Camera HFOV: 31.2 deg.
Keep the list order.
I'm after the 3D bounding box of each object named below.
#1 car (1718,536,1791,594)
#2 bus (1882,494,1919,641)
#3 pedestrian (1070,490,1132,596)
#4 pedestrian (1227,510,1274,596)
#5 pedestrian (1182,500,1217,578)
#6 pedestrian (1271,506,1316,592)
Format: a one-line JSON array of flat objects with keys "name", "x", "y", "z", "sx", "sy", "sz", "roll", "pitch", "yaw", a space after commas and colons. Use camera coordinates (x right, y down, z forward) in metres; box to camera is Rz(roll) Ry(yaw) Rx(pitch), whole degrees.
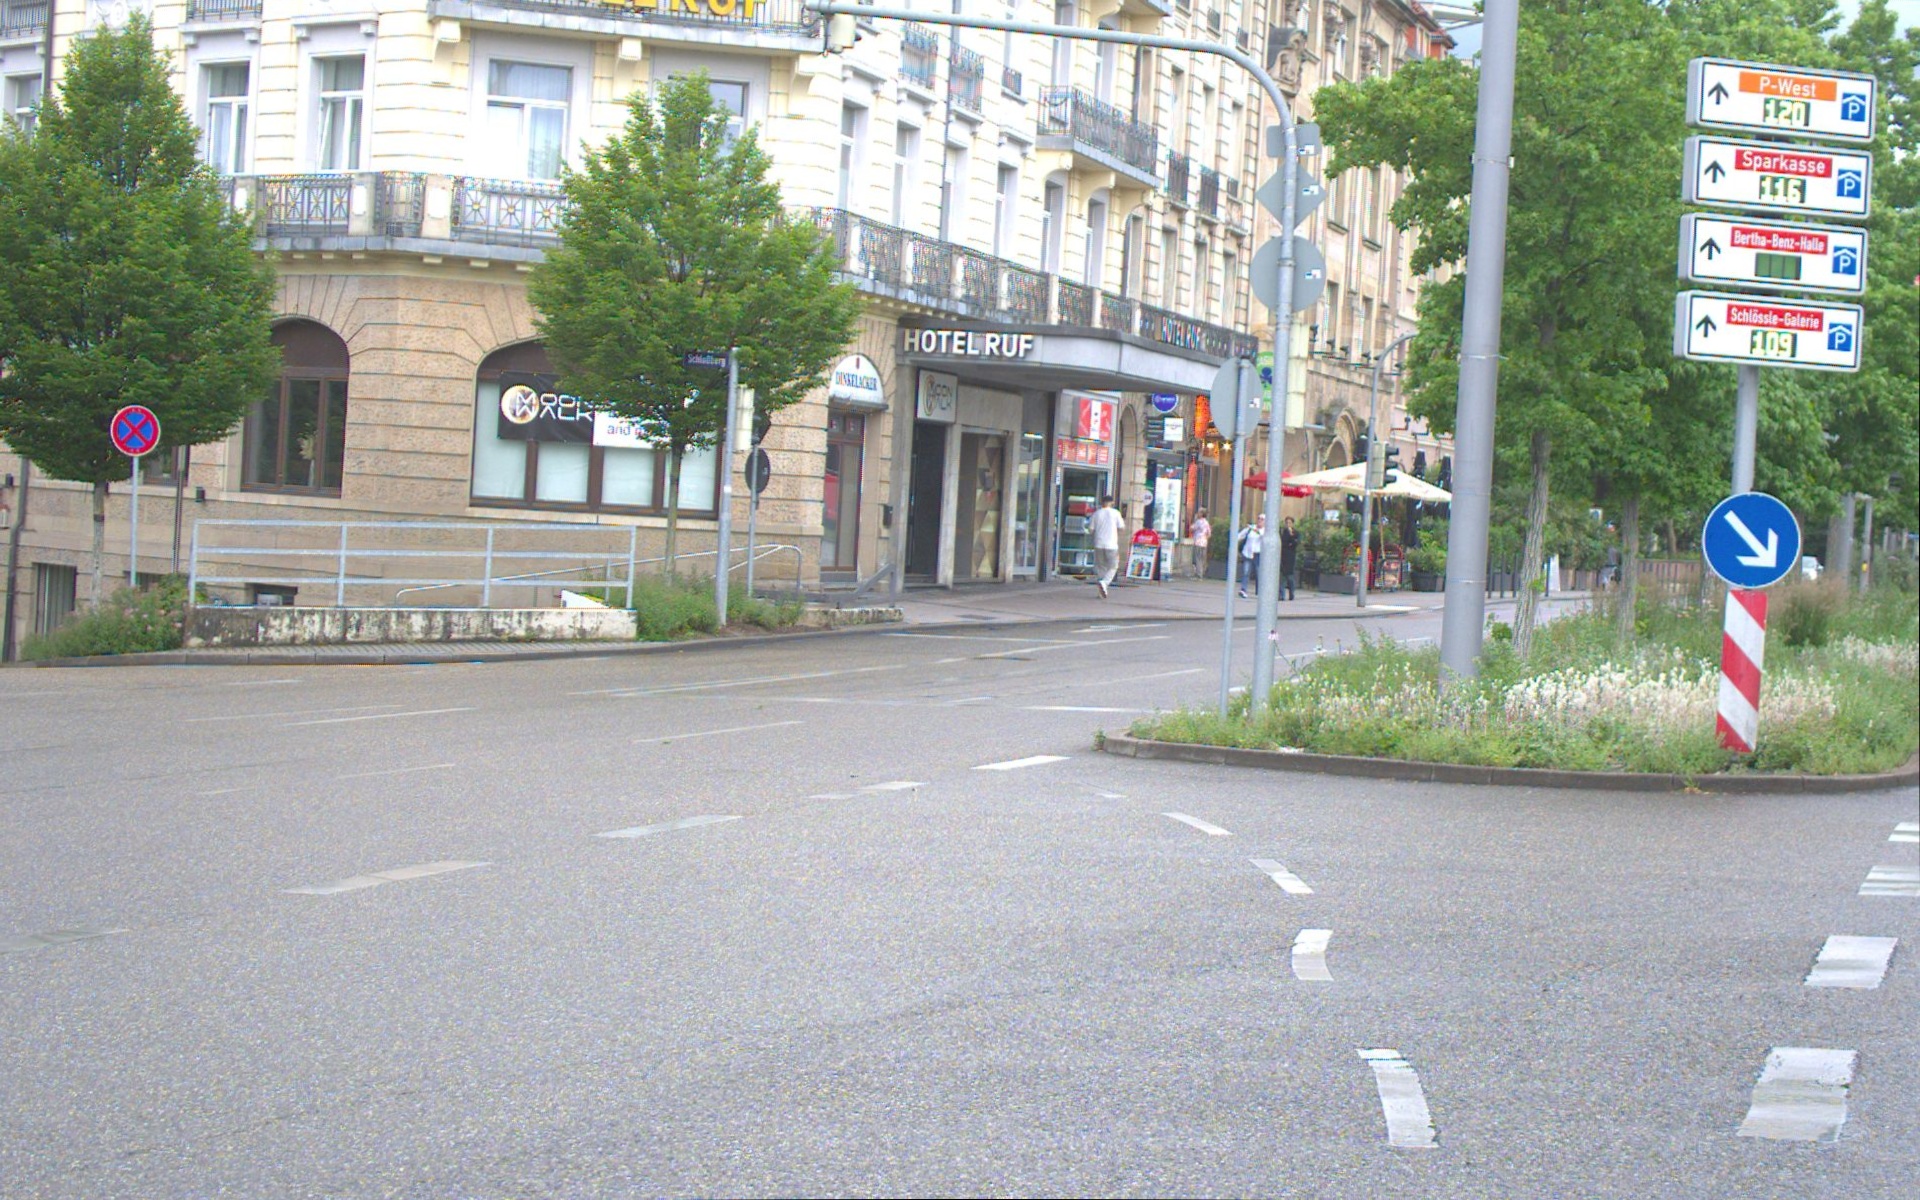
[{"name": "car", "x": 28.629, "y": -1.250, "z": 123.783, "sx": 1.995, "sy": 2.007, "sz": 4.996, "roll": 1, "pitch": 1, "yaw": 19}, {"name": "bus", "x": 28.300, "y": -0.893, "z": 98.231, "sx": 3.547, "sy": 3.966, "sz": 11.163, "roll": 1, "pitch": 1, "yaw": 16}, {"name": "pedestrian", "x": 2.437, "y": -0.984, "z": 59.538, "sx": 0.880, "sy": 1.806, "sz": 0.750, "roll": 1, "pitch": 1, "yaw": 18}, {"name": "pedestrian", "x": 5.675, "y": -0.920, "z": 67.094, "sx": 0.682, "sy": 1.658, "sz": 0.806, "roll": 1, "pitch": 1, "yaw": 21}, {"name": "pedestrian", "x": 5.150, "y": -1.306, "z": 73.888, "sx": 0.667, "sy": 1.658, "sz": 0.536, "roll": 1, "pitch": 0, "yaw": 10}, {"name": "pedestrian", "x": 6.480, "y": -0.993, "z": 66.825, "sx": 0.682, "sy": 1.658, "sz": 0.806, "roll": 1, "pitch": 1, "yaw": 18}]
